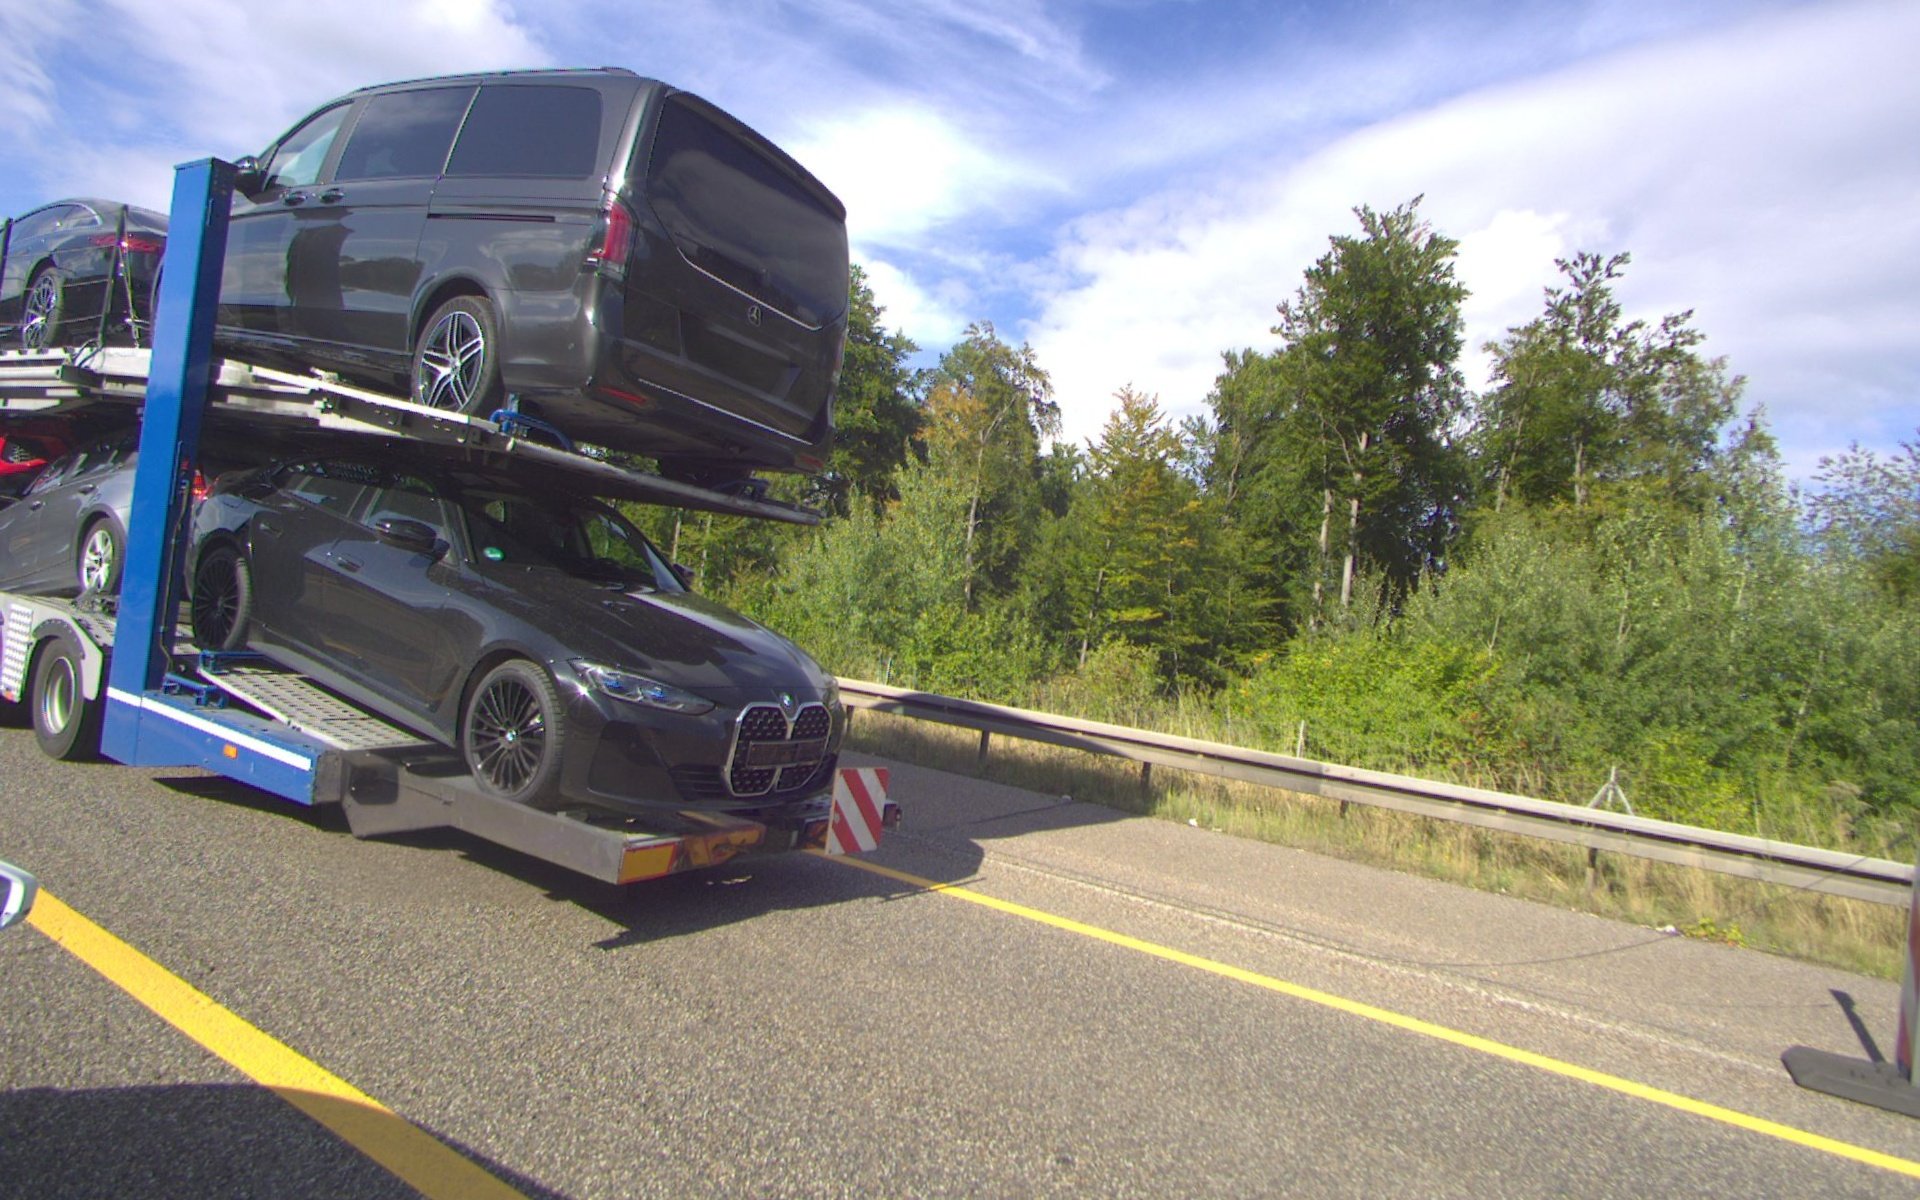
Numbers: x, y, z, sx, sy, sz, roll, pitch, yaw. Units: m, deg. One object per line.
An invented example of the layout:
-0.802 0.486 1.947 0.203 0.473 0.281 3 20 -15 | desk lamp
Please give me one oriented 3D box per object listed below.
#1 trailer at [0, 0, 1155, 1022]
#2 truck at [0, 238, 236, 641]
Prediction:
-6.731 -1.282 8.957 15.955 4.244 3.735 6 -2 31 | trailer
-13.803 -2.127 13.201 7.817 4.244 3.770 6 -2 30 | truck
